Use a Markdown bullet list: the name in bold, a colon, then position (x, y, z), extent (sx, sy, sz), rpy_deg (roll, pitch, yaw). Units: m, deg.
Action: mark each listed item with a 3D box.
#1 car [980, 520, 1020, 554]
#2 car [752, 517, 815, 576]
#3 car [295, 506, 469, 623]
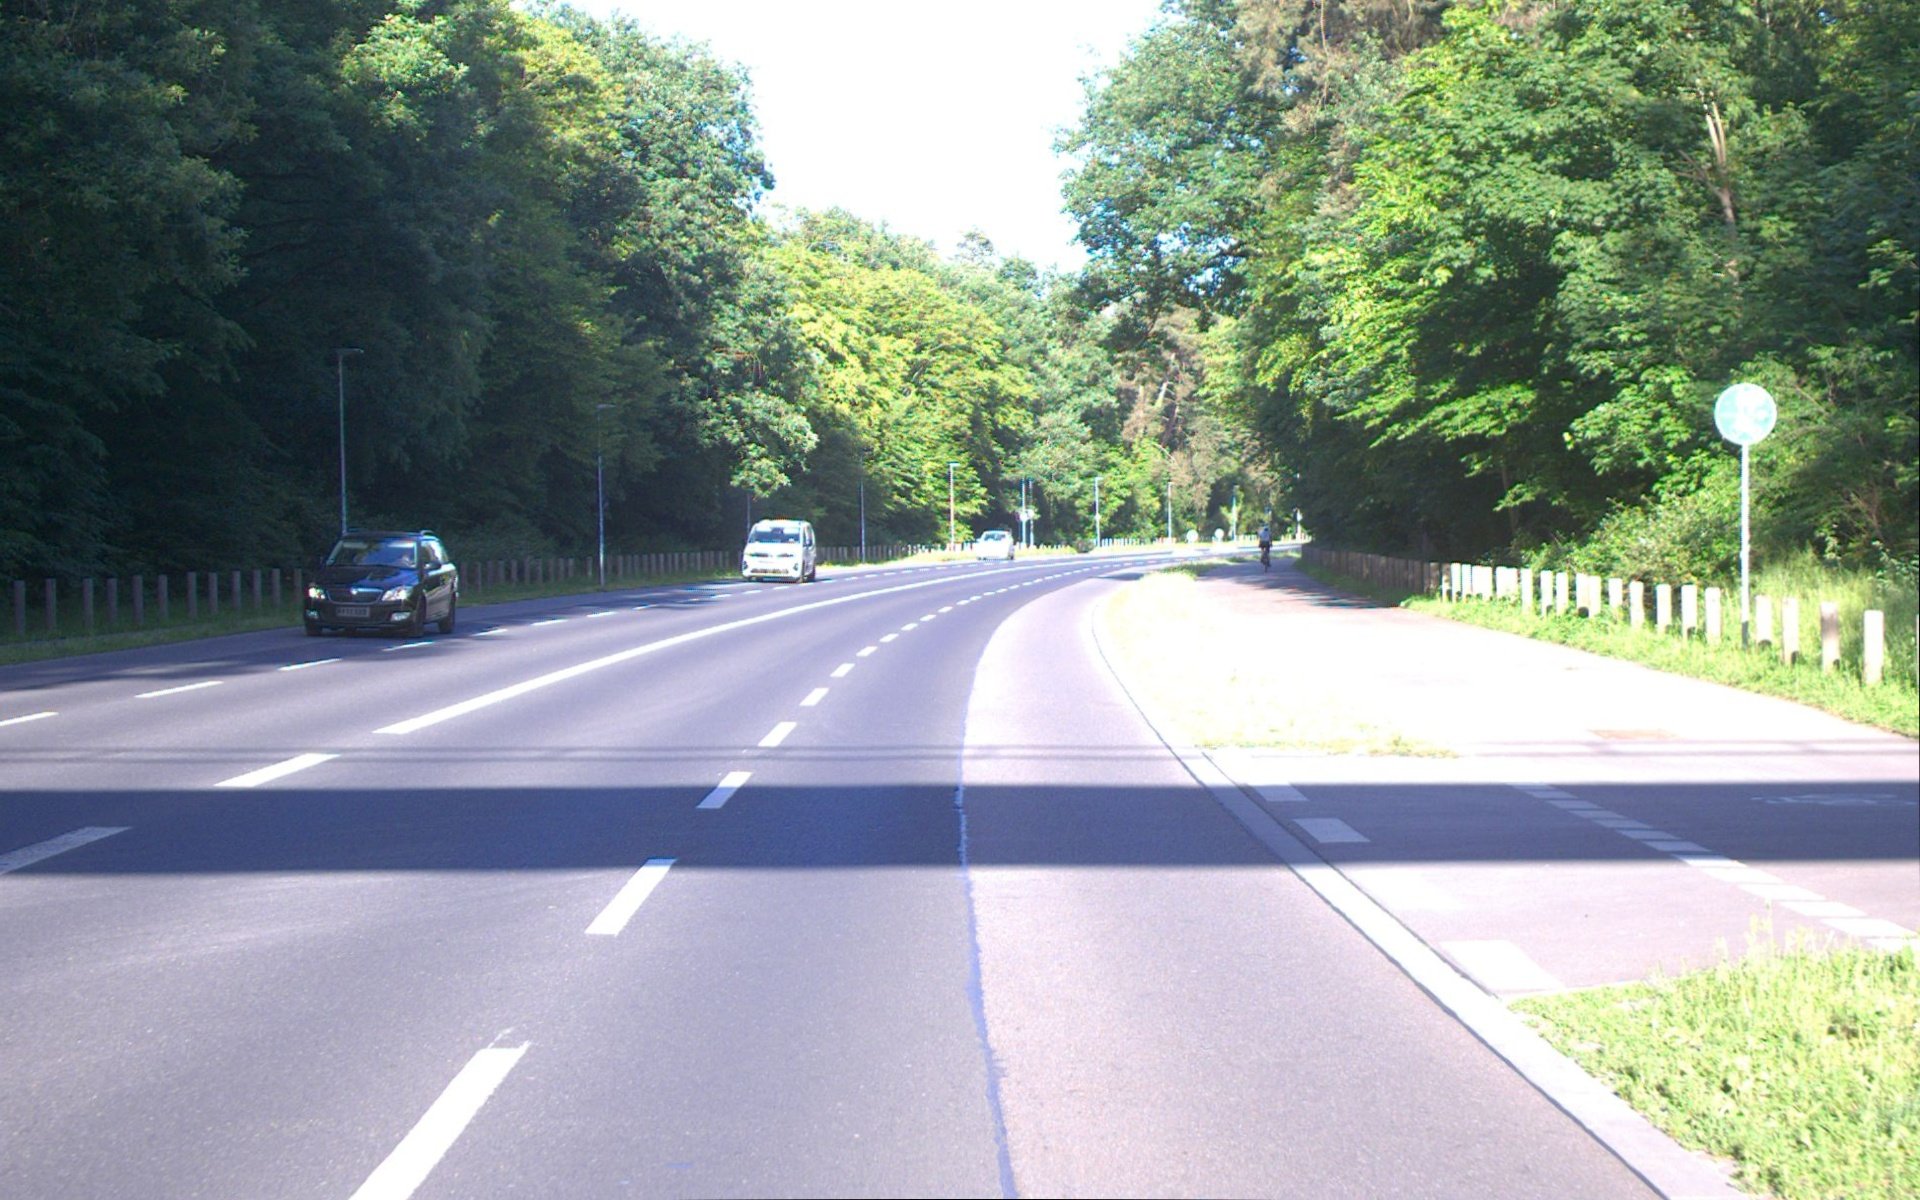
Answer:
- **car**: position (2.065, -3.233, 176.486), extent (1.784, 1.703, 4.000), rpy_deg (0, 1, 4)
- **car**: position (-5.196, -1.599, 101.670), extent (1.705, 1.703, 4.000), rpy_deg (0, 1, 0)
- **car**: position (-8.253, -0.538, 49.395), extent (1.722, 1.568, 4.178), rpy_deg (2, 1, 1)
